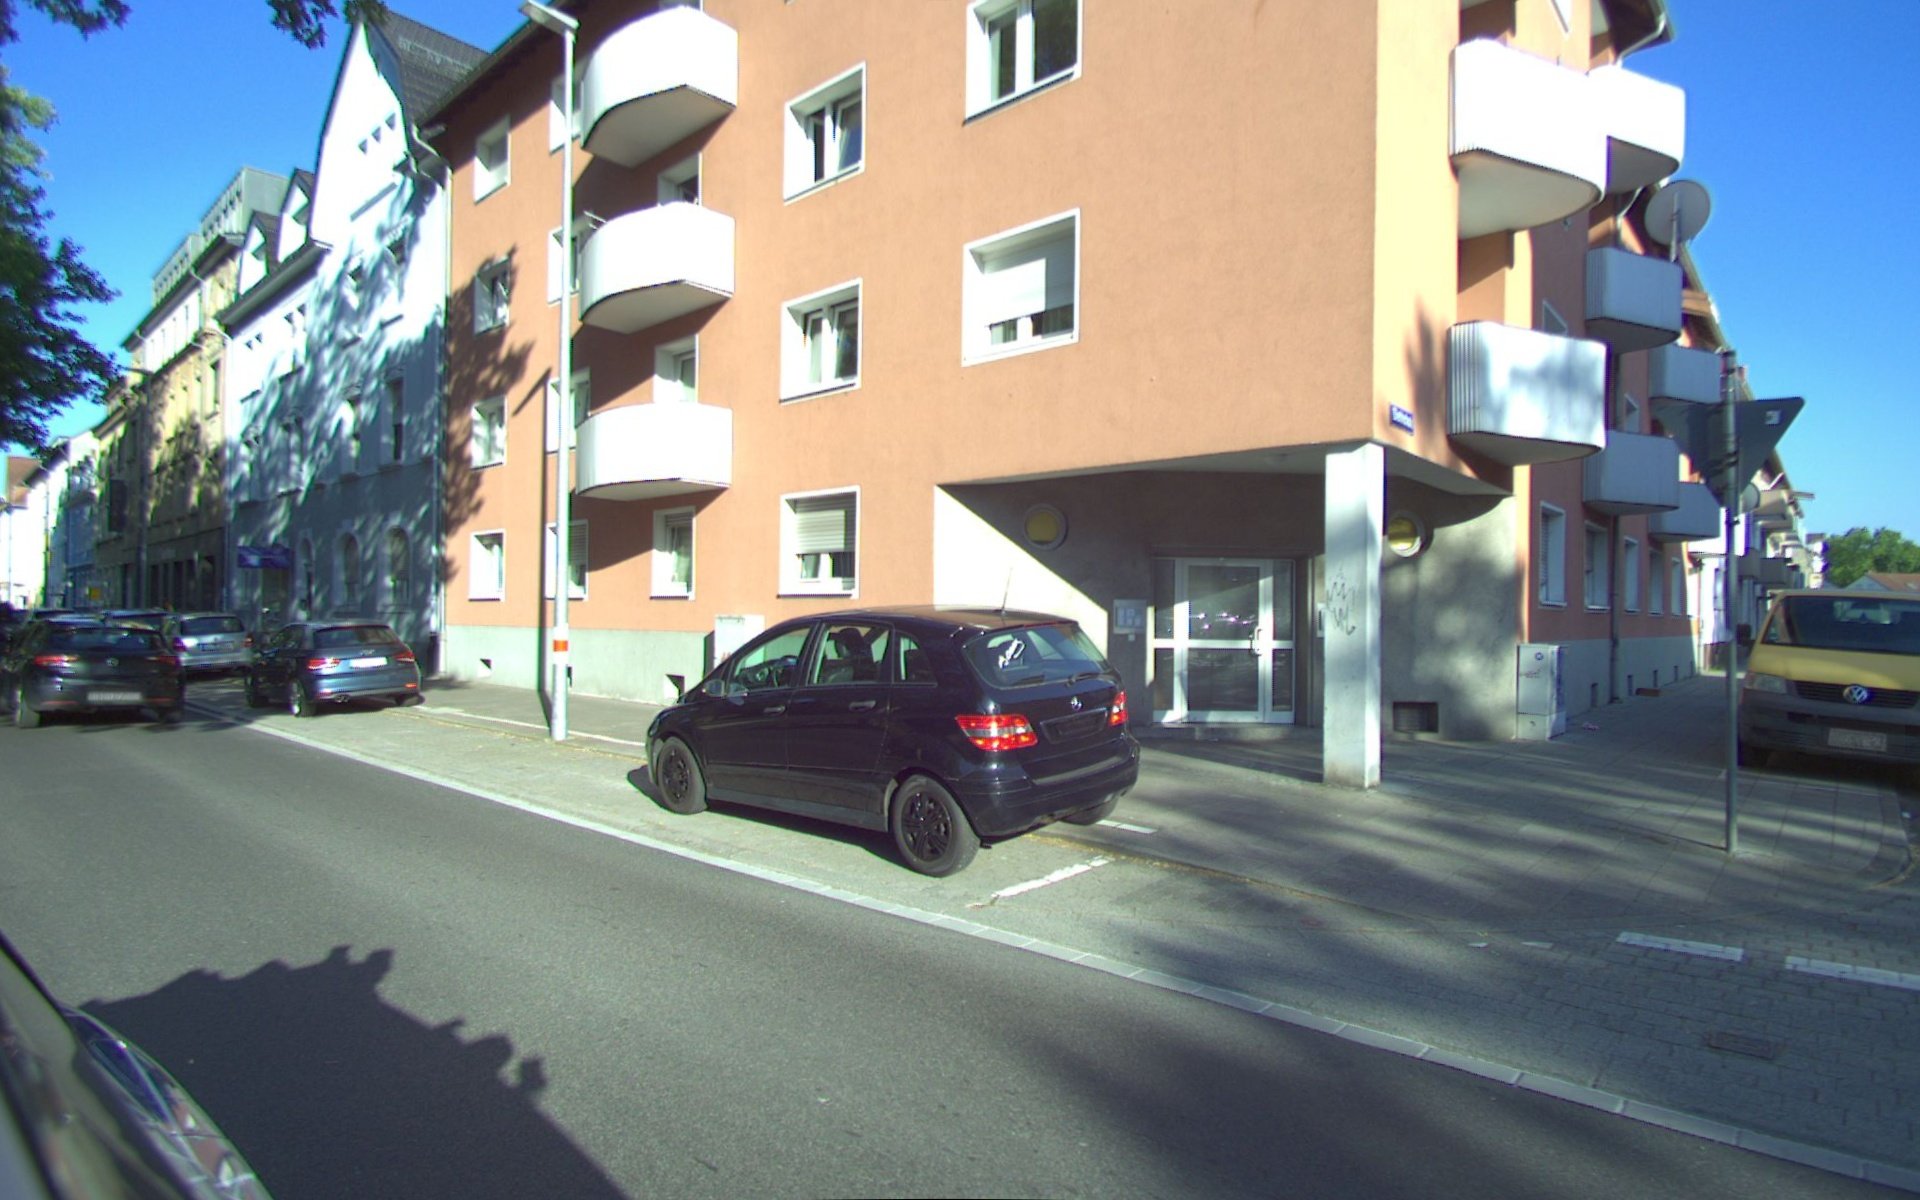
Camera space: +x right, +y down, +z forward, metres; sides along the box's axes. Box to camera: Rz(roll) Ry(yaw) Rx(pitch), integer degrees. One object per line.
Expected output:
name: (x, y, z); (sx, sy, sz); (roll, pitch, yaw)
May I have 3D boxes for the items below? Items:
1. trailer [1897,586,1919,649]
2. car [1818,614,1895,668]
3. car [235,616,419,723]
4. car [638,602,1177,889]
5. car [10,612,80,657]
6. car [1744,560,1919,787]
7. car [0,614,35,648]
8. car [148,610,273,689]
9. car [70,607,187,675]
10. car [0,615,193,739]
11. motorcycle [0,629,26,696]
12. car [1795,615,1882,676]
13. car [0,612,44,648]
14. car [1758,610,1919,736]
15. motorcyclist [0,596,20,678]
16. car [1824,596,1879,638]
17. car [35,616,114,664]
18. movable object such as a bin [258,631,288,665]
trailer: (46.379, 0.806, 48.287); (2.239, 2.915, 5.069); (1, 1, 41)
car: (31.600, 1.422, 35.650); (1.920, 1.781, 4.246); (-1, -2, 43)
car: (-10.246, 1.020, 16.285); (3.601, 1.497, 1.659); (-1, 0, 43)
car: (-0.593, 0.808, 7.476); (4.021, 1.535, 1.659); (-1, 0, 43)
car: (-34.926, 1.280, 38.592); (4.200, 1.597, 1.659); (-1, 0, 43)
car: (9.962, 0.716, 10.948); (1.920, 2.029, 4.694); (-1, -2, 43)
car: (-49.184, 1.598, 52.273); (4.156, 1.685, 1.762); (-1, 0, 43)
car: (-17.555, 1.089, 23.636); (3.985, 1.654, 1.659); (-1, 0, 43)
car: (-22.550, 1.055, 27.378); (4.577, 1.654, 1.887); (-1, 0, 43)
car: (-12.606, 0.977, 14.549); (4.321, 1.490, 1.752); (-1, 0, 42)
motorcycle: (-19.205, 1.228, 20.205); (2.263, 1.251, 0.541); (0, -4, 42)
car: (27.774, 1.401, 31.947); (1.920, 1.781, 4.246); (-1, -2, 43)
car: (-45.220, 1.427, 48.618); (1.658, 1.617, 3.707); (-1, 0, -45)
car: (13.481, 1.012, 15.266); (1.920, 1.638, 4.400); (-1, -2, 43)
motorcyclist: (-19.347, 0.734, 20.316); (0.831, 1.617, 0.579); (-1, -2, 41)
car: (45.061, 0.846, 51.194); (1.999, 2.029, 3.945); (1, 0, 41)
car: (-30.206, 1.329, 34.478); (3.872, 1.507, 1.659); (-1, 0, 43)
movable object such as a bin: (-19.845, 1.379, 29.223); (0.669, 0.954, 0.551); (-1, -2, 43)
